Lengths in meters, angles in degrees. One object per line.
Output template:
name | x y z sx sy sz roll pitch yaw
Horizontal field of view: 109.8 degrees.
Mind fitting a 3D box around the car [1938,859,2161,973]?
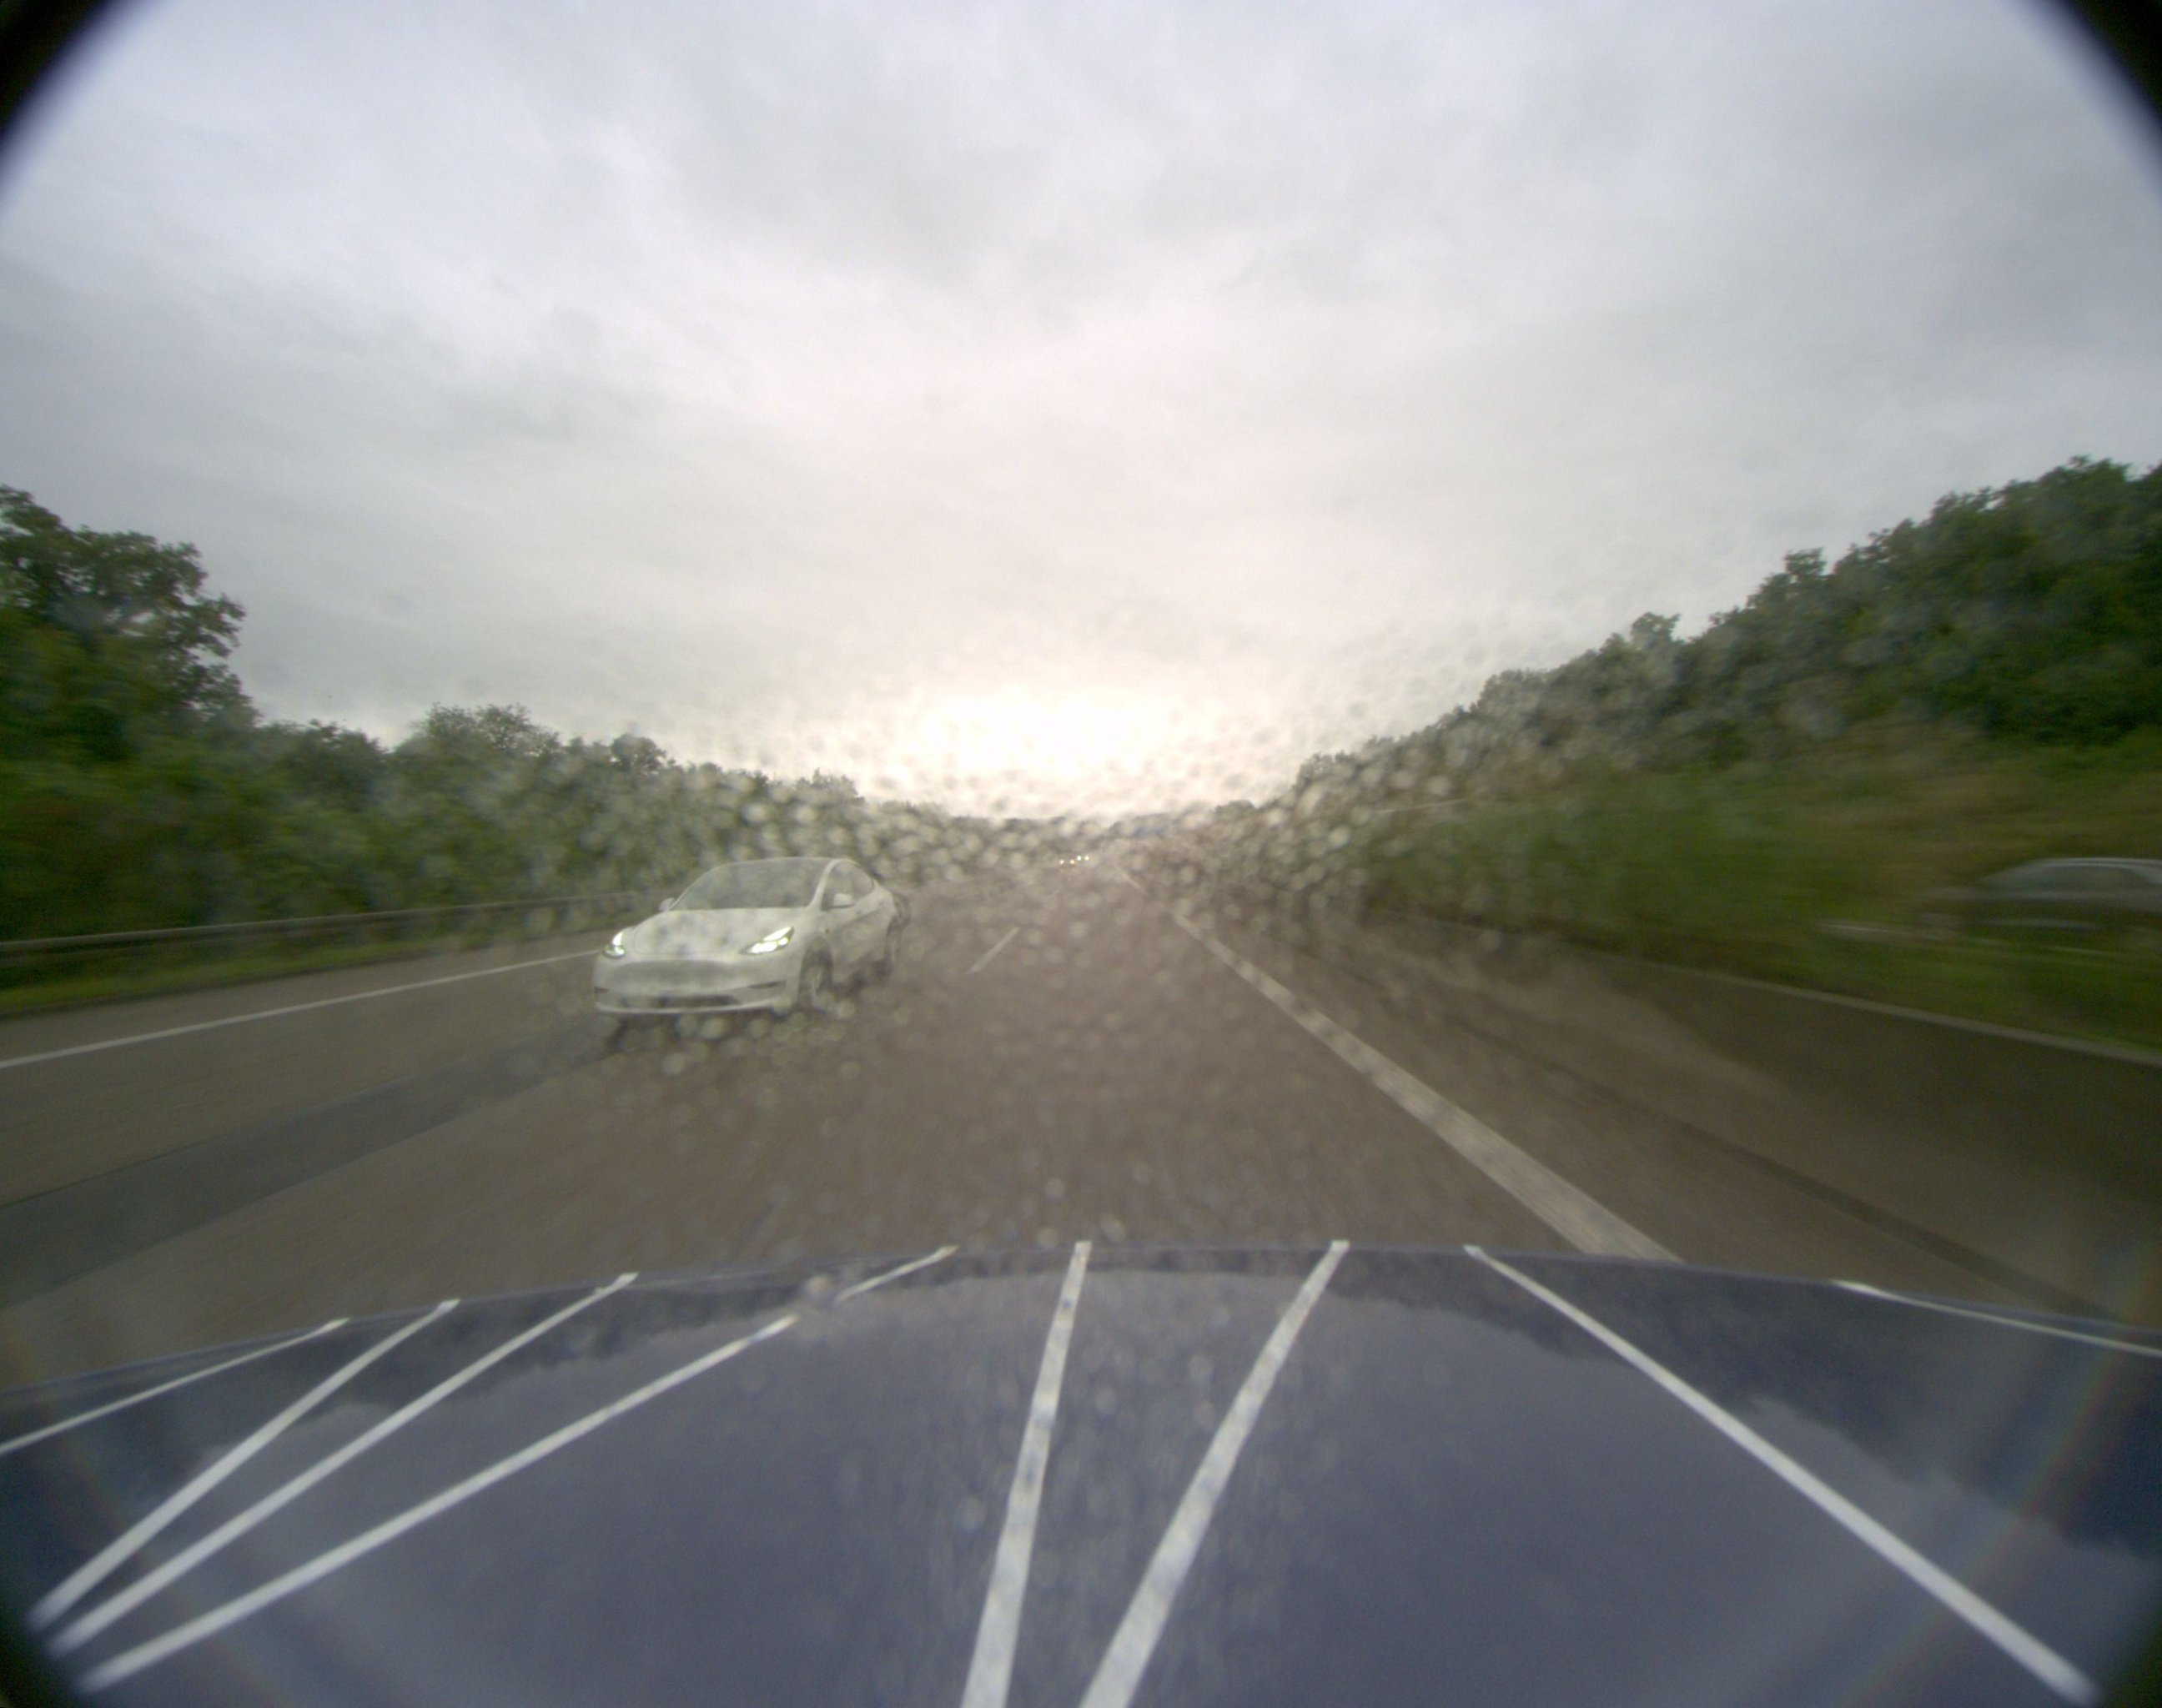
car | 16.457 0.909 11.804 1.780 1.593 4.000 0 0 0

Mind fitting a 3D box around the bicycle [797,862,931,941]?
bicycle | -3.283 0.711 11.647 1.757 1.084 0.913 -1 2 1

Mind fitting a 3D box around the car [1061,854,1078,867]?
car | -1.388 0.730 89.446 1.933 1.521 4.296 0 0 -1

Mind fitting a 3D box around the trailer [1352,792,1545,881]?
trailer | 16.647 -0.727 36.202 2.995 3.465 13.255 0 0 1

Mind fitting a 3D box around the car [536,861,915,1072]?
car | -3.420 0.941 8.639 1.865 1.559 4.963 -2 1 1

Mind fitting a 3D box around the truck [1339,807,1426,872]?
truck | 16.736 -0.771 42.508 2.999 3.447 4.769 0 1 1

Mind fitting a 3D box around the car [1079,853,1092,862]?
car | 0.864 0.641 141.746 2.008 1.456 4.001 0 2 7
